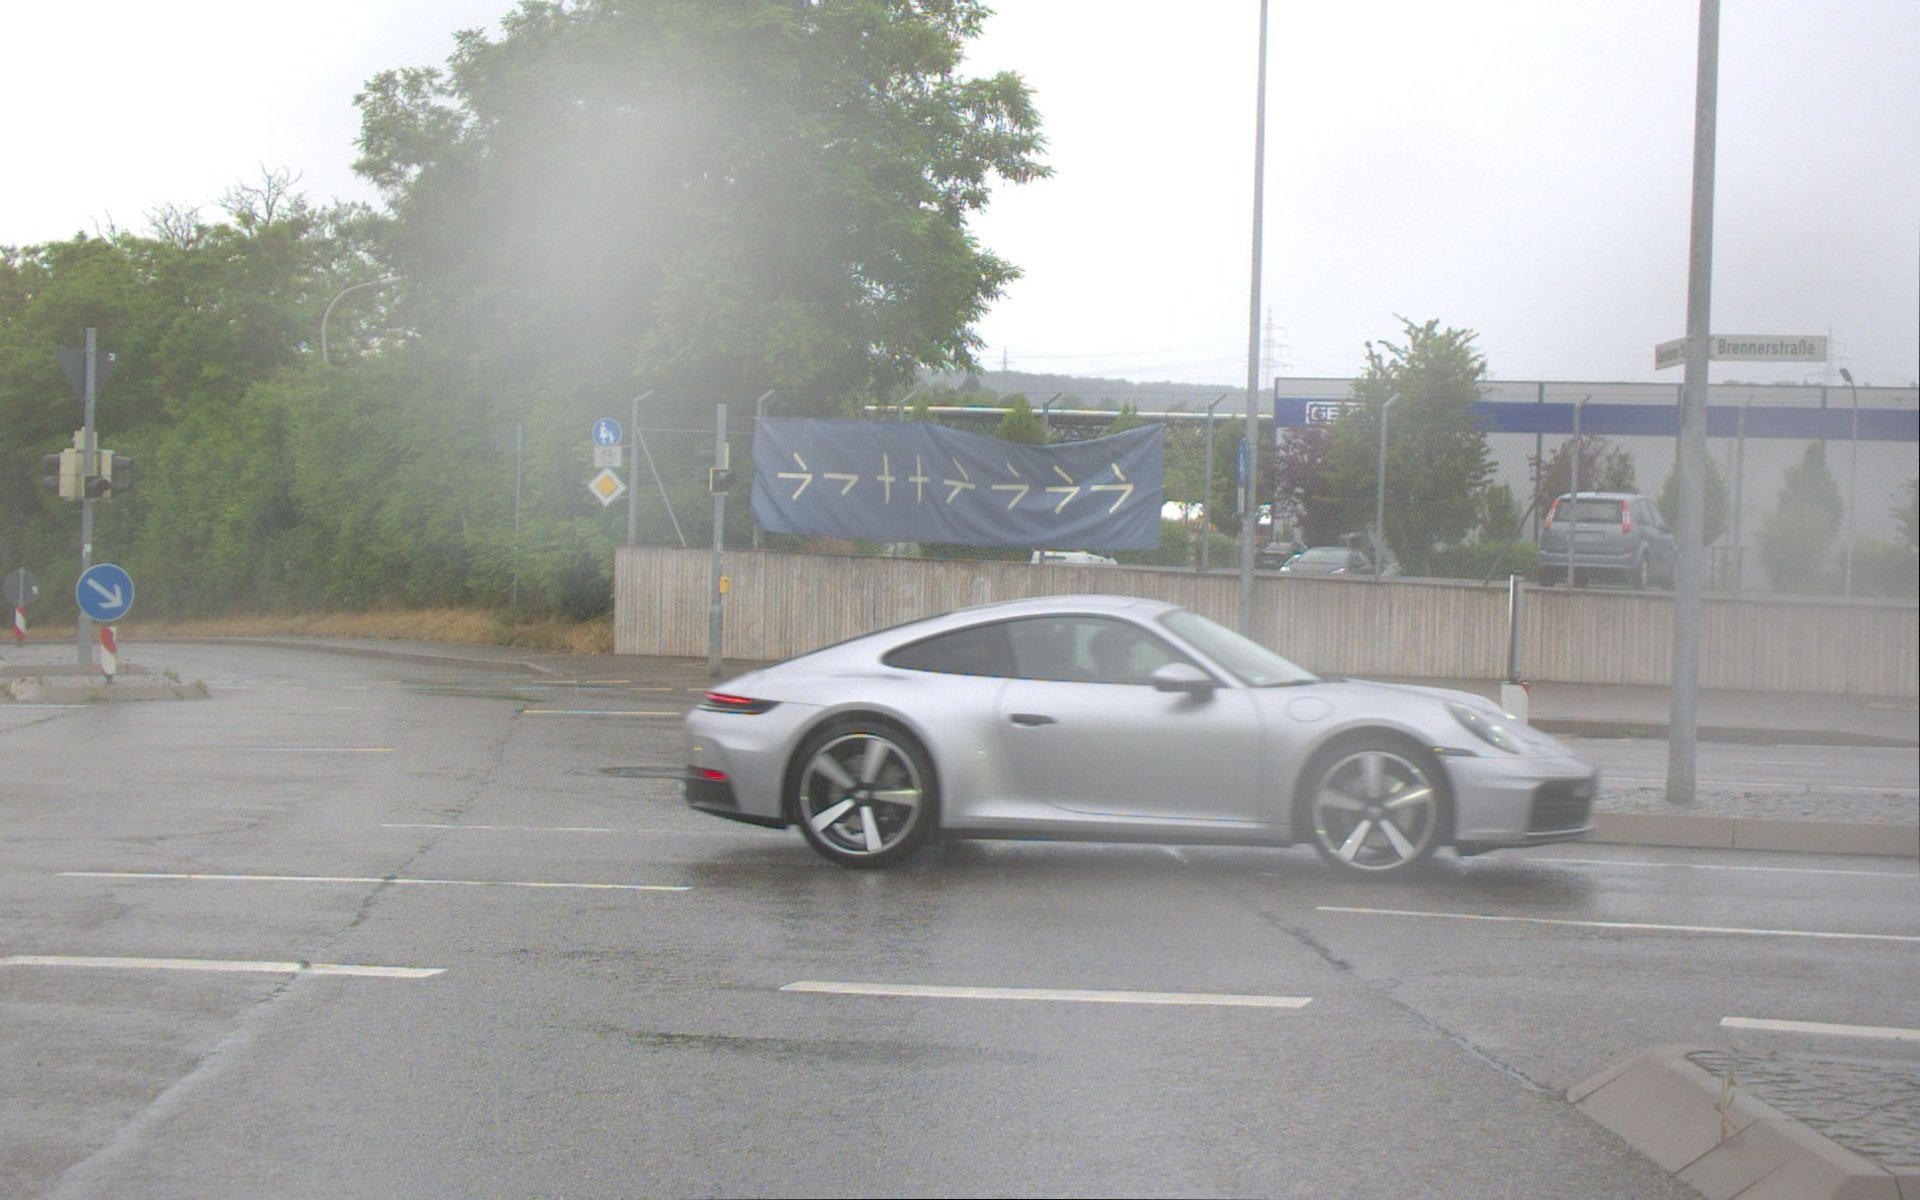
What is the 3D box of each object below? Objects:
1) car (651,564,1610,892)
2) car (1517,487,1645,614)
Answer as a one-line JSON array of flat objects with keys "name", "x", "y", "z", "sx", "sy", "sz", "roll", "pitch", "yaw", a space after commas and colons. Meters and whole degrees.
[{"name": "car", "x": 0.898, "y": 0.563, "z": 16.888, "sx": 4.434, "sy": 1.354, "sz": 1.856, "roll": 2, "pitch": 1, "yaw": 12}, {"name": "car", "x": 10.451, "y": -0.839, "z": 57.688, "sx": 1.994, "sy": 2.007, "sz": 3.998, "roll": 1, "pitch": 1, "yaw": 11}]
